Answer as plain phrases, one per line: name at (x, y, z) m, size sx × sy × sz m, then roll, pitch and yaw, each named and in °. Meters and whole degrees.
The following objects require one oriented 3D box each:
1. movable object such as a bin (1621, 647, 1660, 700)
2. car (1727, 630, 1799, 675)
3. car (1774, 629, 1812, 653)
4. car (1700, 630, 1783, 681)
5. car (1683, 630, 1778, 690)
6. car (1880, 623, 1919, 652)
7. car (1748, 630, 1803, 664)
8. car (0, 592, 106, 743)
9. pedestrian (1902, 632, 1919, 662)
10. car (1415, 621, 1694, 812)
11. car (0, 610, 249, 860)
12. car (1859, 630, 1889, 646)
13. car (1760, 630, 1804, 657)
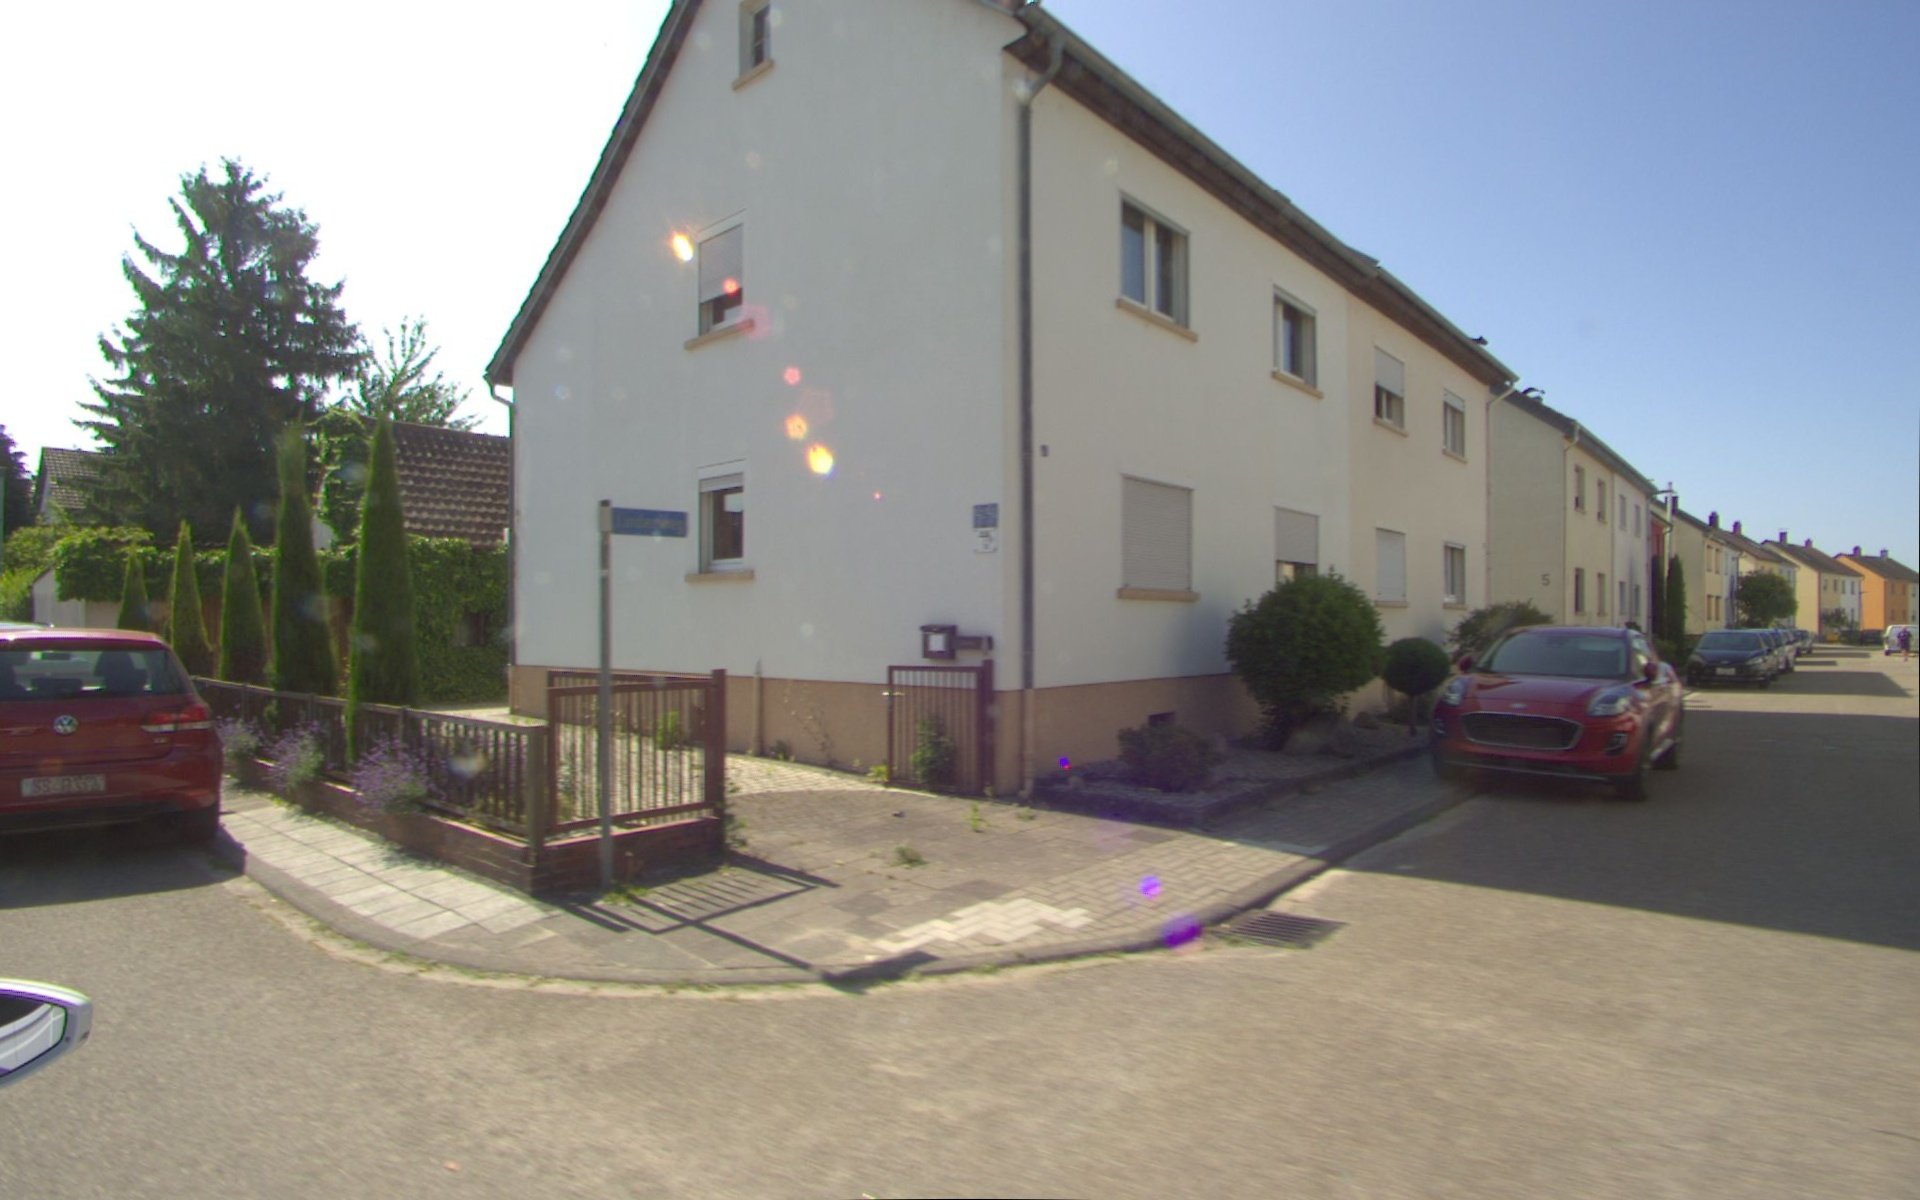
movable object such as a bin at (13.820, 1.478, 20.339) m, size 0.597 × 1.043 × 0.558 m, roll -1°, pitch -1°, yaw 42°
car at (27.570, 1.756, 34.348) m, size 1.777 × 1.428 × 3.968 m, roll -1°, pitch -2°, yaw 41°
car at (51.840, 2.511, 62.288) m, size 1.777 × 1.428 × 3.968 m, roll -1°, pitch -2°, yaw 41°
car at (23.752, 1.619, 30.386) m, size 1.777 × 1.428 × 3.968 m, roll -1°, pitch -2°, yaw 41°
car at (20.456, 1.527, 26.526) m, size 1.777 × 1.428 × 3.968 m, roll -1°, pitch -2°, yaw 41°
car at (54.381, 2.167, 57.702) m, size 1.911 × 1.552 × 3.967 m, roll -4°, pitch -4°, yaw 42°
car at (36.421, 2.045, 44.675) m, size 1.777 × 1.428 × 3.968 m, roll -1°, pitch -2°, yaw 41°
car at (-11.891, 0.769, 12.028) m, size 3.952 × 1.636 × 1.815 m, roll -1°, pitch -2°, yaw 39°
pedestrian at (45.244, 2.227, 47.551) m, size 0.648 × 1.399 × 0.623 m, roll -3°, pitch -3°, yaw 39°
car at (6.198, 1.000, 10.225) m, size 1.777 × 1.549 × 3.968 m, roll -1°, pitch -2°, yaw 41°
car at (-6.905, 0.873, 7.652) m, size 1.765 × 1.498 × 3.961 m, roll 3°, pitch -3°, yaw -44°
car at (82.682, 3.413, 90.545) m, size 3.960 × 1.428 × 1.780 m, roll 1°, pitch -2°, yaw -44°
car at (45.224, 2.369, 55.049) m, size 1.777 × 1.428 × 3.968 m, roll -1°, pitch -2°, yaw 41°
